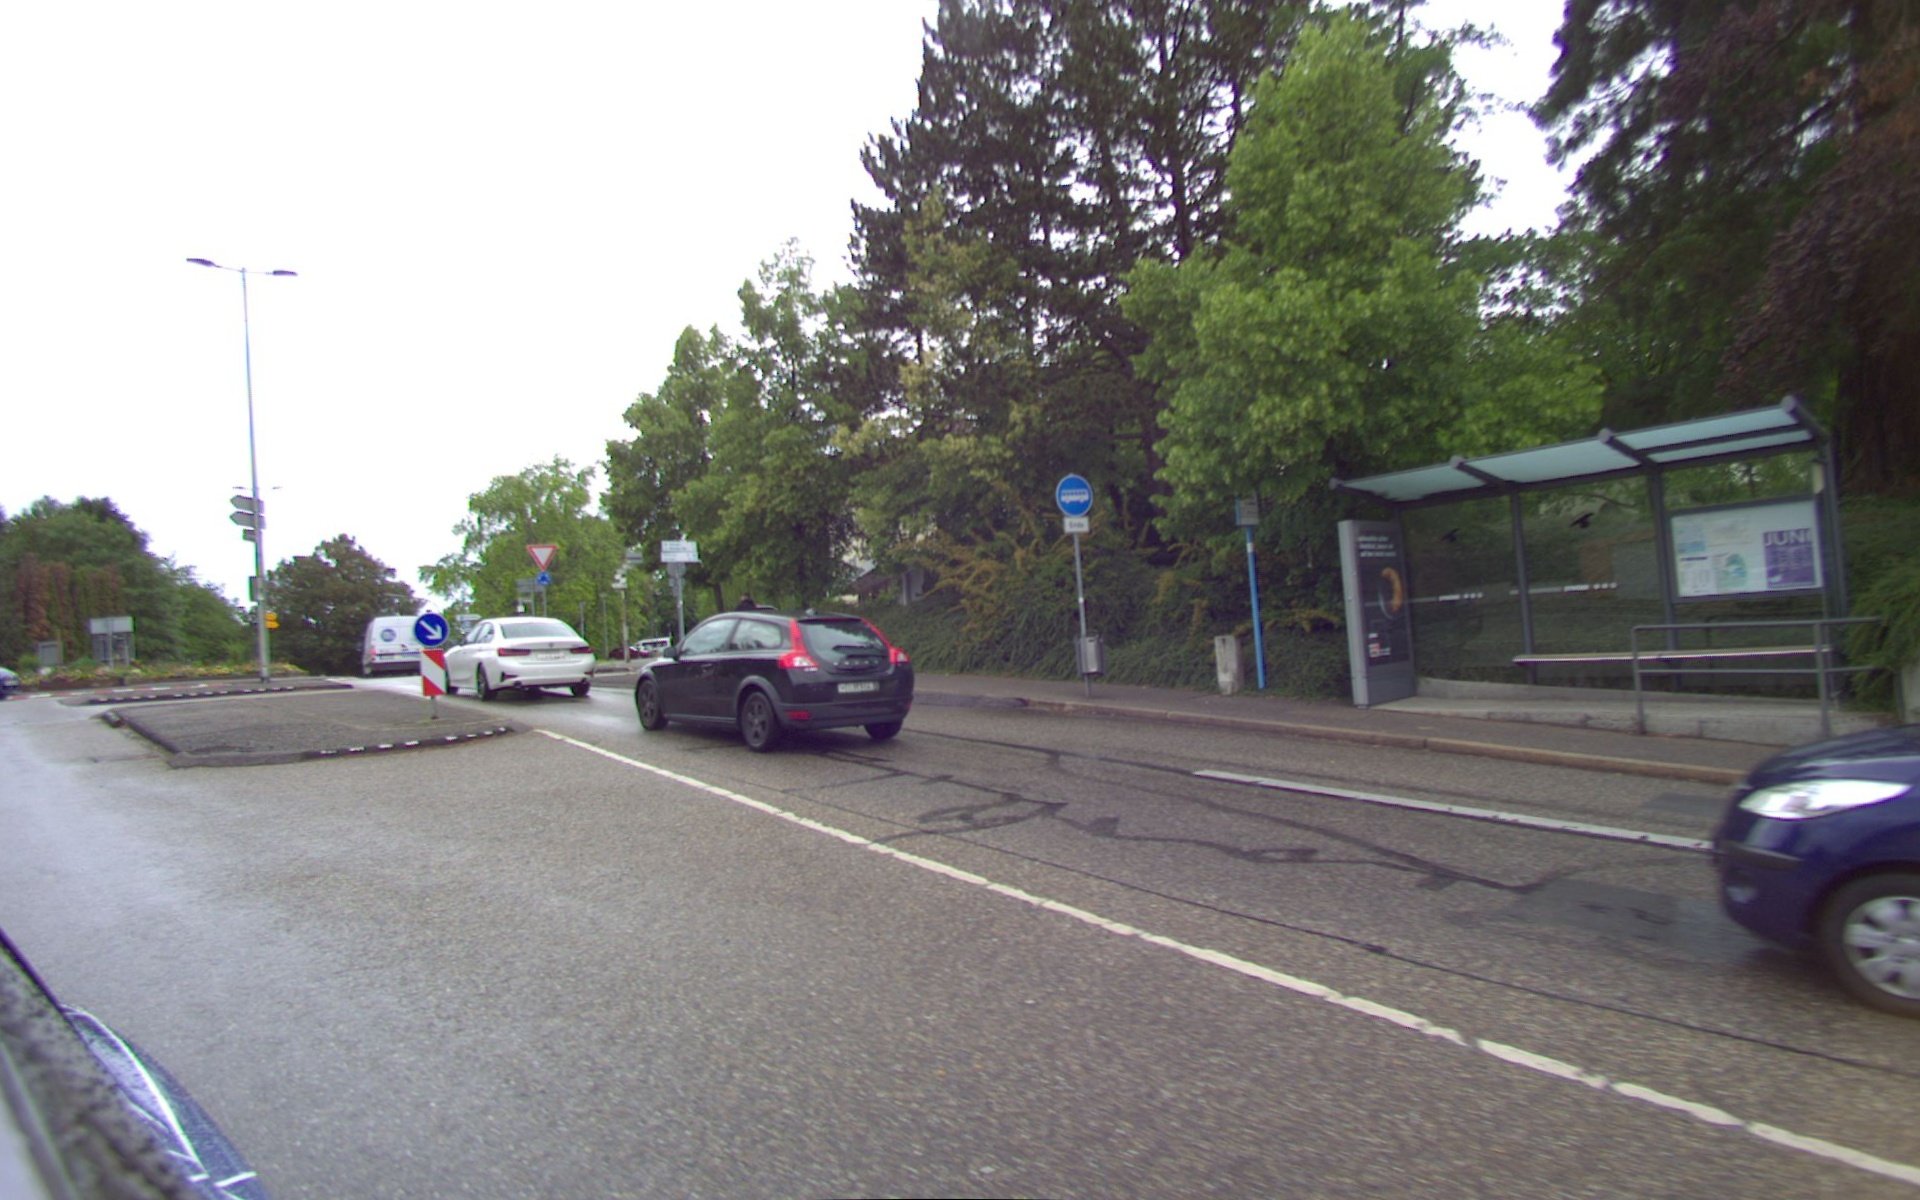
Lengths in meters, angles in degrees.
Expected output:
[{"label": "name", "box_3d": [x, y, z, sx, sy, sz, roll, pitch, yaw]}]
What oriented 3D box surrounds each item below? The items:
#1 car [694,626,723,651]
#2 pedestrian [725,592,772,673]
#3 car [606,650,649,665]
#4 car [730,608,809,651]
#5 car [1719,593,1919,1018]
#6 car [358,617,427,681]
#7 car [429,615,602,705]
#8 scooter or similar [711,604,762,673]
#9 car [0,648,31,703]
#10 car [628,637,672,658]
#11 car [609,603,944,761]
[{"label": "car", "box_3d": [-18.192, 2.755, 73.115, 1.669, 1.626, 4.351, -1, -1, -18]}, {"label": "pedestrian", "box_3d": [-4.915, 0.745, 23.481, 0.694, 1.821, 0.826, 0, -2, -43]}, {"label": "car", "box_3d": [-33.328, 5.782, 101.505, 3.796, 1.321, 1.563, -2, -5, -8]}, {"label": "car", "box_3d": [-7.375, 1.137, 39.084, 2.775, 1.553, 1.703, -1, -1, -17]}, {"label": "car", "box_3d": [5.101, 0.647, 2.978, 4.378, 1.475, 1.702, -3, -2, 44]}, {"label": "car", "box_3d": [-24.068, 2.129, 42.844, 2.138, 2.434, 5.410, -1, -4, -34]}, {"label": "car", "box_3d": [-8.396, 1.045, 18.849, 1.804, 1.412, 4.830, -1, -1, -38]}, {"label": "scooter or similar", "box_3d": [-5.140, 0.890, 23.221, 0.503, 1.527, 1.319, 0, -2, -43]}, {"label": "car", "box_3d": [-27.832, 2.159, 26.710, 4.594, 1.448, 1.767, -3, -2, -12]}, {"label": "car", "box_3d": [-37.857, 5.768, 123.616, 4.839, 2.319, 1.794, -2, -5, -8]}, {"label": "car", "box_3d": [-2.283, 0.794, 11.598, 1.769, 1.457, 4.409, 0, -1, -41]}]
